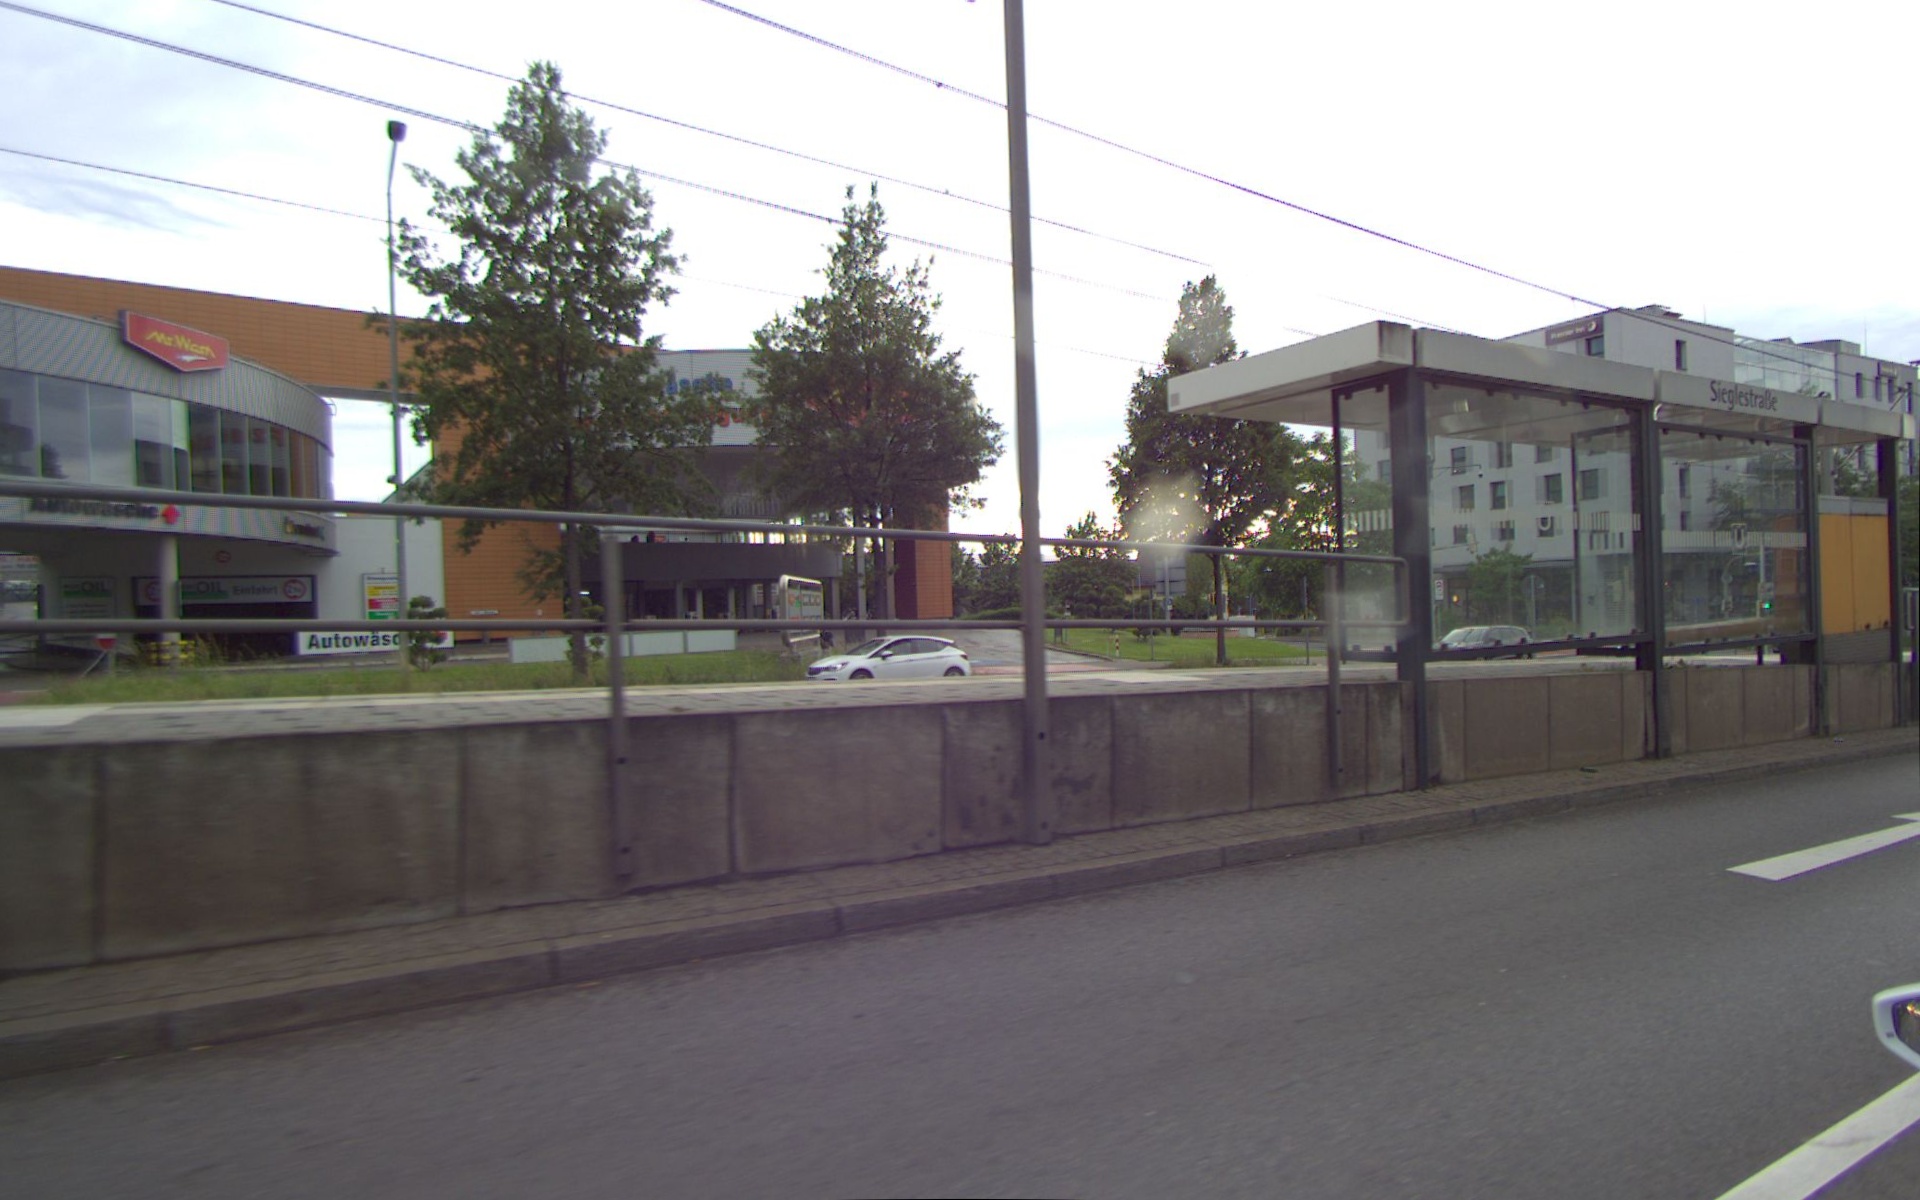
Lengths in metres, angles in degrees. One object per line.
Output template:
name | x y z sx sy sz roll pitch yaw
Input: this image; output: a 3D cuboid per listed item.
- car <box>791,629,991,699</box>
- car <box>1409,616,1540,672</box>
car | -1.695 1.552 25.346 4.655 1.538 1.982 1 0 -32
car | 17.478 1.433 34.104 4.337 1.798 1.984 1 -1 -30
